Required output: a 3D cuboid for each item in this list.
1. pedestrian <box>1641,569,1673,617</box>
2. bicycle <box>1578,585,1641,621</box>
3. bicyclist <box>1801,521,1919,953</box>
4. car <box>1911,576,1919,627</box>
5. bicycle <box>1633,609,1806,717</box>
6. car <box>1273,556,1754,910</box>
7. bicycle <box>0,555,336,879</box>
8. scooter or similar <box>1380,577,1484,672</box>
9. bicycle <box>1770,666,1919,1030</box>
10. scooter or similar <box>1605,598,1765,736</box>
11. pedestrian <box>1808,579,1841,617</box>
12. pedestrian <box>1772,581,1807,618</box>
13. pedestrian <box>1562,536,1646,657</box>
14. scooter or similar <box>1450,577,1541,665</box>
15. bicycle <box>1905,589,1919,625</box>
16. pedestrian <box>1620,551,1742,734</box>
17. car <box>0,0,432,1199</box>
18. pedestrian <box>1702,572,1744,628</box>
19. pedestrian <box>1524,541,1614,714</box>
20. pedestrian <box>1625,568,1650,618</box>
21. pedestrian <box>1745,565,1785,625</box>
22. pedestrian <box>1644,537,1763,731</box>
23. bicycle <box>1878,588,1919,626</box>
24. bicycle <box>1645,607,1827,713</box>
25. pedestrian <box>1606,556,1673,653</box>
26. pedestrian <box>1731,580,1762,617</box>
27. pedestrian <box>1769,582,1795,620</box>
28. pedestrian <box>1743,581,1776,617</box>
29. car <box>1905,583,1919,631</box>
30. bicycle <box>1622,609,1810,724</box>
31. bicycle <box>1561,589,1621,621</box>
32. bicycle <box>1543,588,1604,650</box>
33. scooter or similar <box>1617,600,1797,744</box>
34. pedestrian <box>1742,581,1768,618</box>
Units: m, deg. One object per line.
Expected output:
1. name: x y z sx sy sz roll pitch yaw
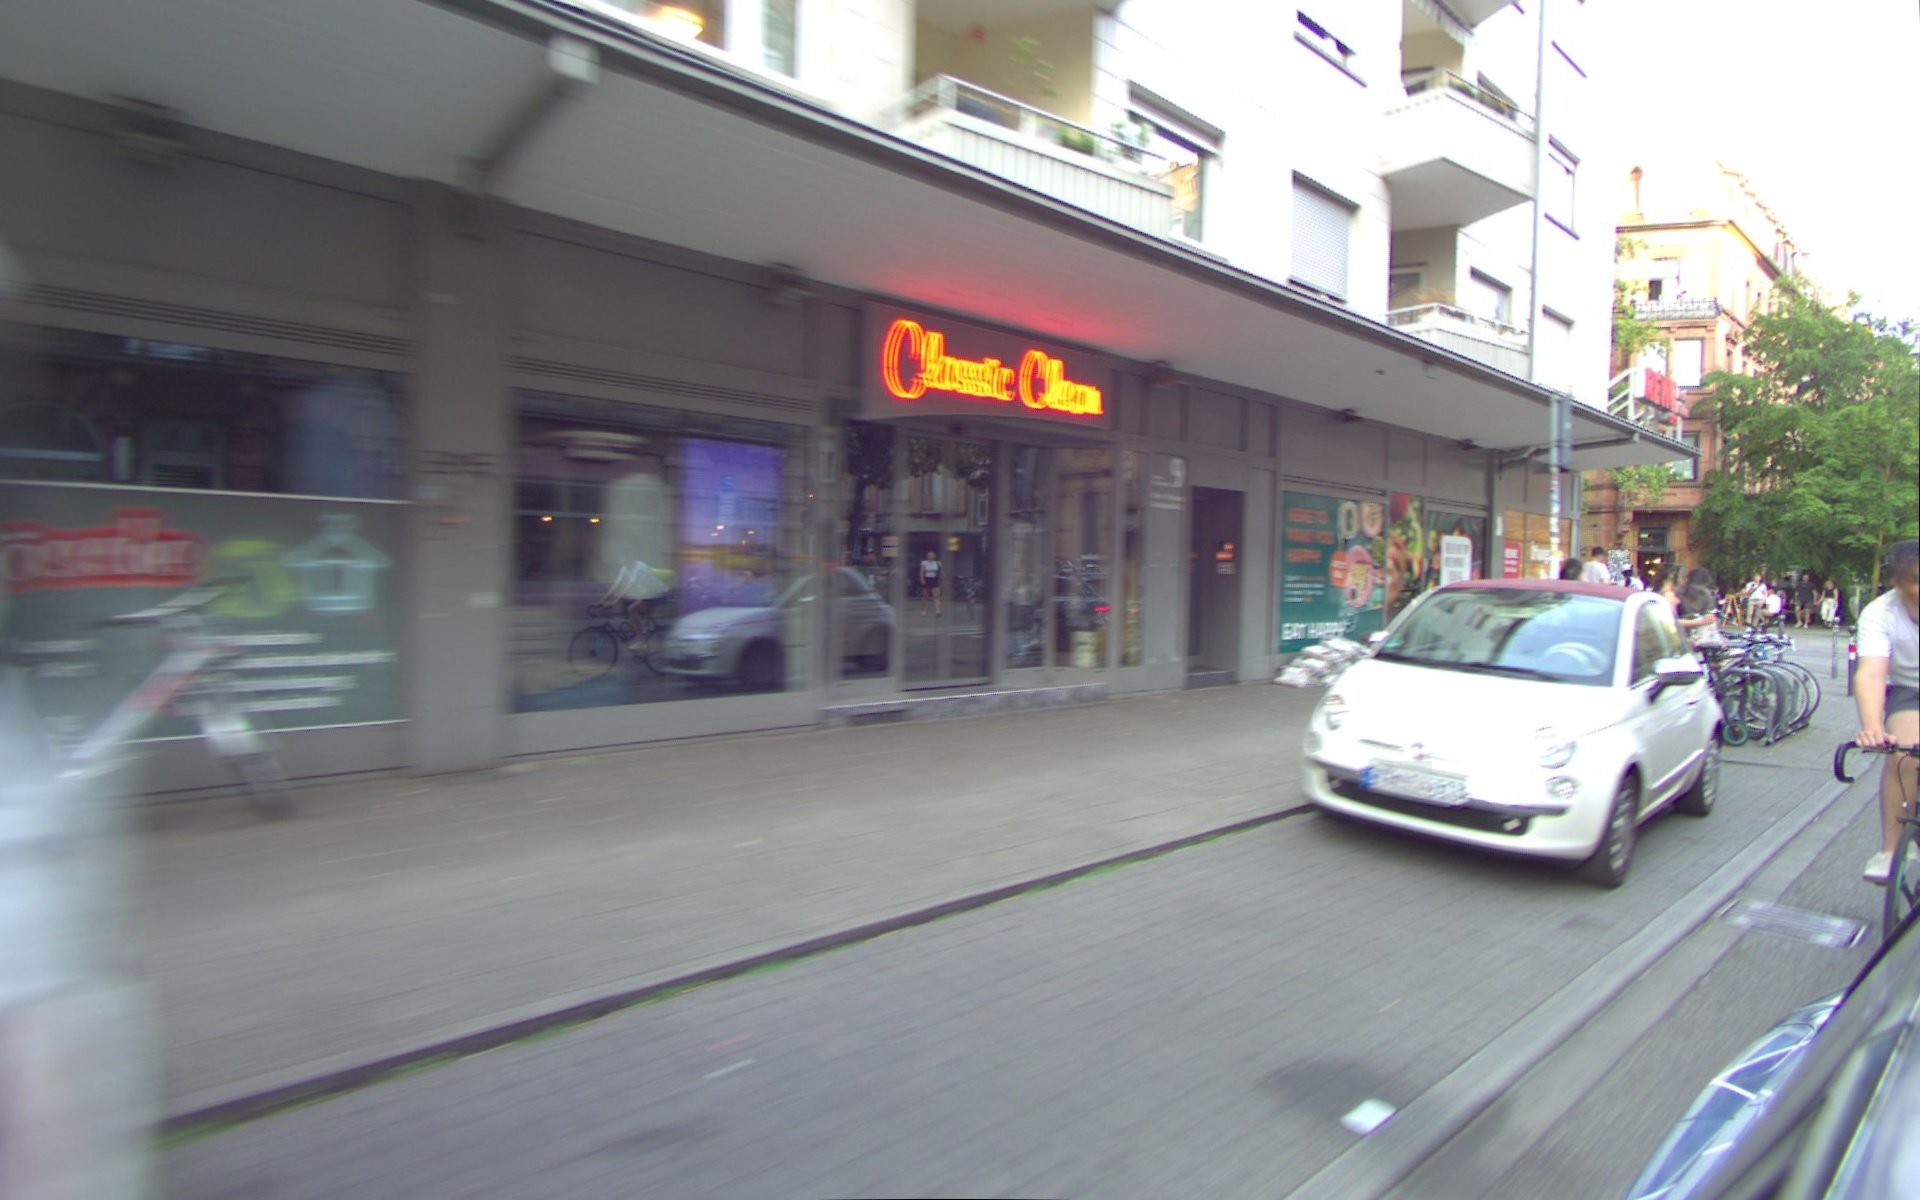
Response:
1. pedestrian: 24.373 -0.251 35.402 0.628 1.657 0.676 0 2 -5
2. bicycle: 22.144 0.105 34.507 1.845 1.168 0.714 -1 2 -15
3. bicyclist: 3.749 0.473 3.857 0.936 1.527 0.650 -2 2 -39
4. car: 42.281 0.117 40.924 5.091 2.123 2.101 1 2 24
5. bicycle: 8.321 0.655 11.125 0.502 0.995 1.419 -2 5 -43
6. car: 3.538 0.548 6.226 3.367 1.519 1.594 -1 4 -44
7. bicycle: -3.843 0.429 4.431 0.907 1.210 1.690 5 4 35
8. scooter or similar: 6.307 0.323 13.531 1.139 1.218 0.538 1 1 -15
9. bicycle: 3.828 0.863 3.947 1.884 1.031 0.658 -2 2 -39
10. scooter or similar: 7.020 0.615 9.817 1.160 1.185 0.529 4 2 42
11. pedestrian: 31.305 -0.074 36.646 0.715 1.321 0.743 2 2 29
12. pedestrian: 29.622 -0.010 36.147 0.662 1.288 0.641 0 2 -2
13. pedestrian: 10.769 -0.077 16.913 1.169 1.934 0.762 0 4 -41
14. scooter or similar: 8.034 0.285 15.167 1.593 1.233 0.480 -1 3 -34
15. bicycle: 32.639 0.283 33.856 0.658 1.179 2.102 4 3 21
16. pedestrian: 6.695 0.369 9.424 0.637 1.619 0.591 2 3 9
17. car: -3.018 0.282 0.122 4.915 1.997 1.963 0 4 -41
18. pedestrian: 22.926 0.007 30.414 0.850 1.627 0.540 2 1 -15
19. pedestrian: 6.146 0.258 10.211 0.560 1.651 0.716 5 3 42
20. pedestrian: 24.159 -0.249 36.107 0.672 1.767 0.631 1 2 40
21. pedestrian: 25.698 -0.181 32.295 0.892 1.891 0.676 -1 2 -27
22. pedestrian: 7.203 0.299 9.813 0.724 1.777 0.663 0 3 -36
23. bicycle: 31.981 0.235 34.154 0.658 1.179 2.102 4 3 21
24. bicycle: 8.808 0.644 11.540 0.502 1.013 1.549 -2 5 -43
25. pedestrian: 12.295 0.073 18.308 0.867 1.671 0.664 0 4 -38
26. pedestrian: 27.787 -0.058 35.763 0.667 1.288 0.636 0 2 22
27. pedestrian: 28.630 0.022 35.255 0.636 1.288 0.667 1 2 34
28. pedestrian: 28.943 -0.034 36.631 0.627 1.288 0.676 -1 2 -15
29. car: 36.123 0.274 35.463 3.947 1.688 1.818 0 2 18
30. bicycle: 8.004 0.666 10.775 0.501 1.014 1.485 -1 4 -34
31. bicycle: 21.939 0.162 35.192 1.845 1.064 0.714 -1 2 -15
32. bicycle: 10.965 0.317 18.069 1.753 1.037 0.457 -2 2 -43
33. scooter or similar: 6.669 0.628 9.070 1.141 1.185 0.537 3 1 -1
34. pedestrian: 28.329 -0.018 36.074 0.670 1.288 0.633 1 2 34
